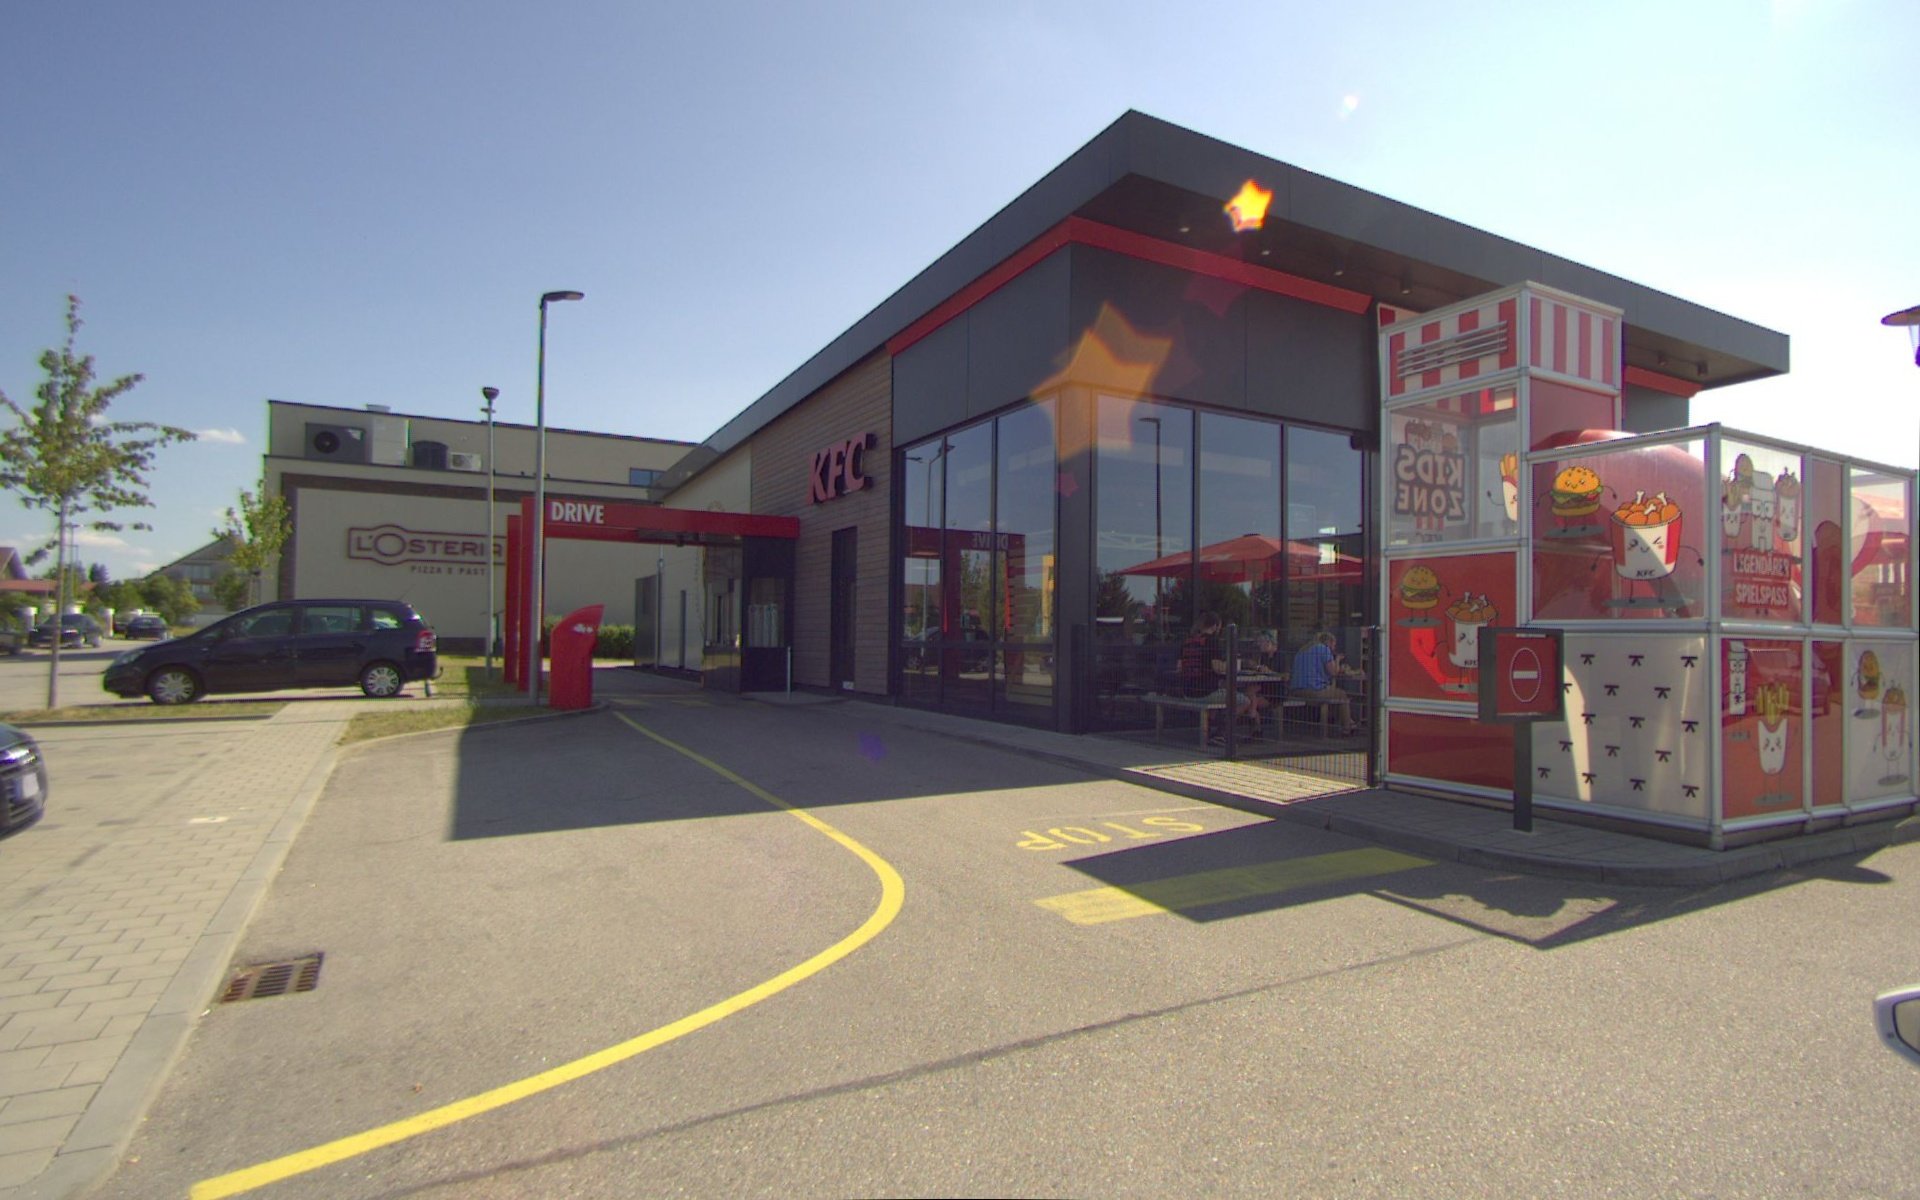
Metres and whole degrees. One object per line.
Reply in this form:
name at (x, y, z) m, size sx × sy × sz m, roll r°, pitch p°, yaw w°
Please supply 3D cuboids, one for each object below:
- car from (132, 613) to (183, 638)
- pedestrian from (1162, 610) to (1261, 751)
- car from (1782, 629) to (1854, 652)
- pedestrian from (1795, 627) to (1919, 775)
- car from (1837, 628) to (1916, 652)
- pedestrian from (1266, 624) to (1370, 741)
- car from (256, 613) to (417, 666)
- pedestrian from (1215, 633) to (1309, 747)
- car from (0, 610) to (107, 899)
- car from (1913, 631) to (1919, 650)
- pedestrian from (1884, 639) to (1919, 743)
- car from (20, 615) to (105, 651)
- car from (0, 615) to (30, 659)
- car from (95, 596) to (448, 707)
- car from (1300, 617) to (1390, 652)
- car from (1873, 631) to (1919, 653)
car at (-49.538, 1.566, 62.070) m, size 1.790 × 1.528 × 3.969 m, roll 1°, pitch -1°, yaw -29°
pedestrian at (2.732, 0.846, 10.947) m, size 0.685 × 1.462 × 0.792 m, roll 2°, pitch -1°, yaw -30°
car at (82.181, 3.884, 96.301) m, size 2.060 × 2.040 × 4.888 m, roll 2°, pitch -1°, yaw -33°
pedestrian at (8.972, 0.980, 10.036) m, size 0.795 × 1.405 × 0.662 m, roll 1°, pitch -1°, yaw -20°
car at (76.602, 3.334, 84.014) m, size 1.932 × 1.880 × 4.539 m, roll 2°, pitch -1°, yaw -29°
pedestrian at (4.311, 0.966, 12.107) m, size 0.933 × 1.330 × 0.750 m, roll 2°, pitch -1°, yaw -28°
car at (-20.571, 1.309, 33.329) m, size 4.395 × 1.630 × 1.774 m, roll 2°, pitch -1°, yaw -31°
pedestrian at (3.424, 0.995, 11.394) m, size 0.686 × 1.216 × 0.749 m, roll 2°, pitch -1°, yaw -28°
car at (-6.986, 0.725, 4.701) m, size 4.264 × 1.429 × 1.716 m, roll 2°, pitch -1°, yaw -30°
car at (93.497, 3.889, 95.137) m, size 1.932 × 1.880 × 4.371 m, roll 2°, pitch -1°, yaw -29°
pedestrian at (12.259, 1.158, 12.818) m, size 0.676 × 1.290 × 0.548 m, roll 0°, pitch -1°, yaw 45°
car at (-41.766, 1.526, 46.833) m, size 2.045 × 1.528 × 3.969 m, roll 3°, pitch -2°, yaw -29°
car at (-36.003, 1.317, 36.653) m, size 2.045 × 1.528 × 3.969 m, roll 3°, pitch -2°, yaw -29°
car at (-10.972, 0.795, 16.437) m, size 4.499 × 1.590 × 1.983 m, roll 1°, pitch -1°, yaw -31°
car at (20.810, 1.855, 54.338) m, size 4.263 × 1.725 × 1.889 m, roll 2°, pitch -2°, yaw -17°
car at (83.351, 3.686, 88.085) m, size 1.932 × 1.880 × 4.539 m, roll 2°, pitch -1°, yaw -29°
